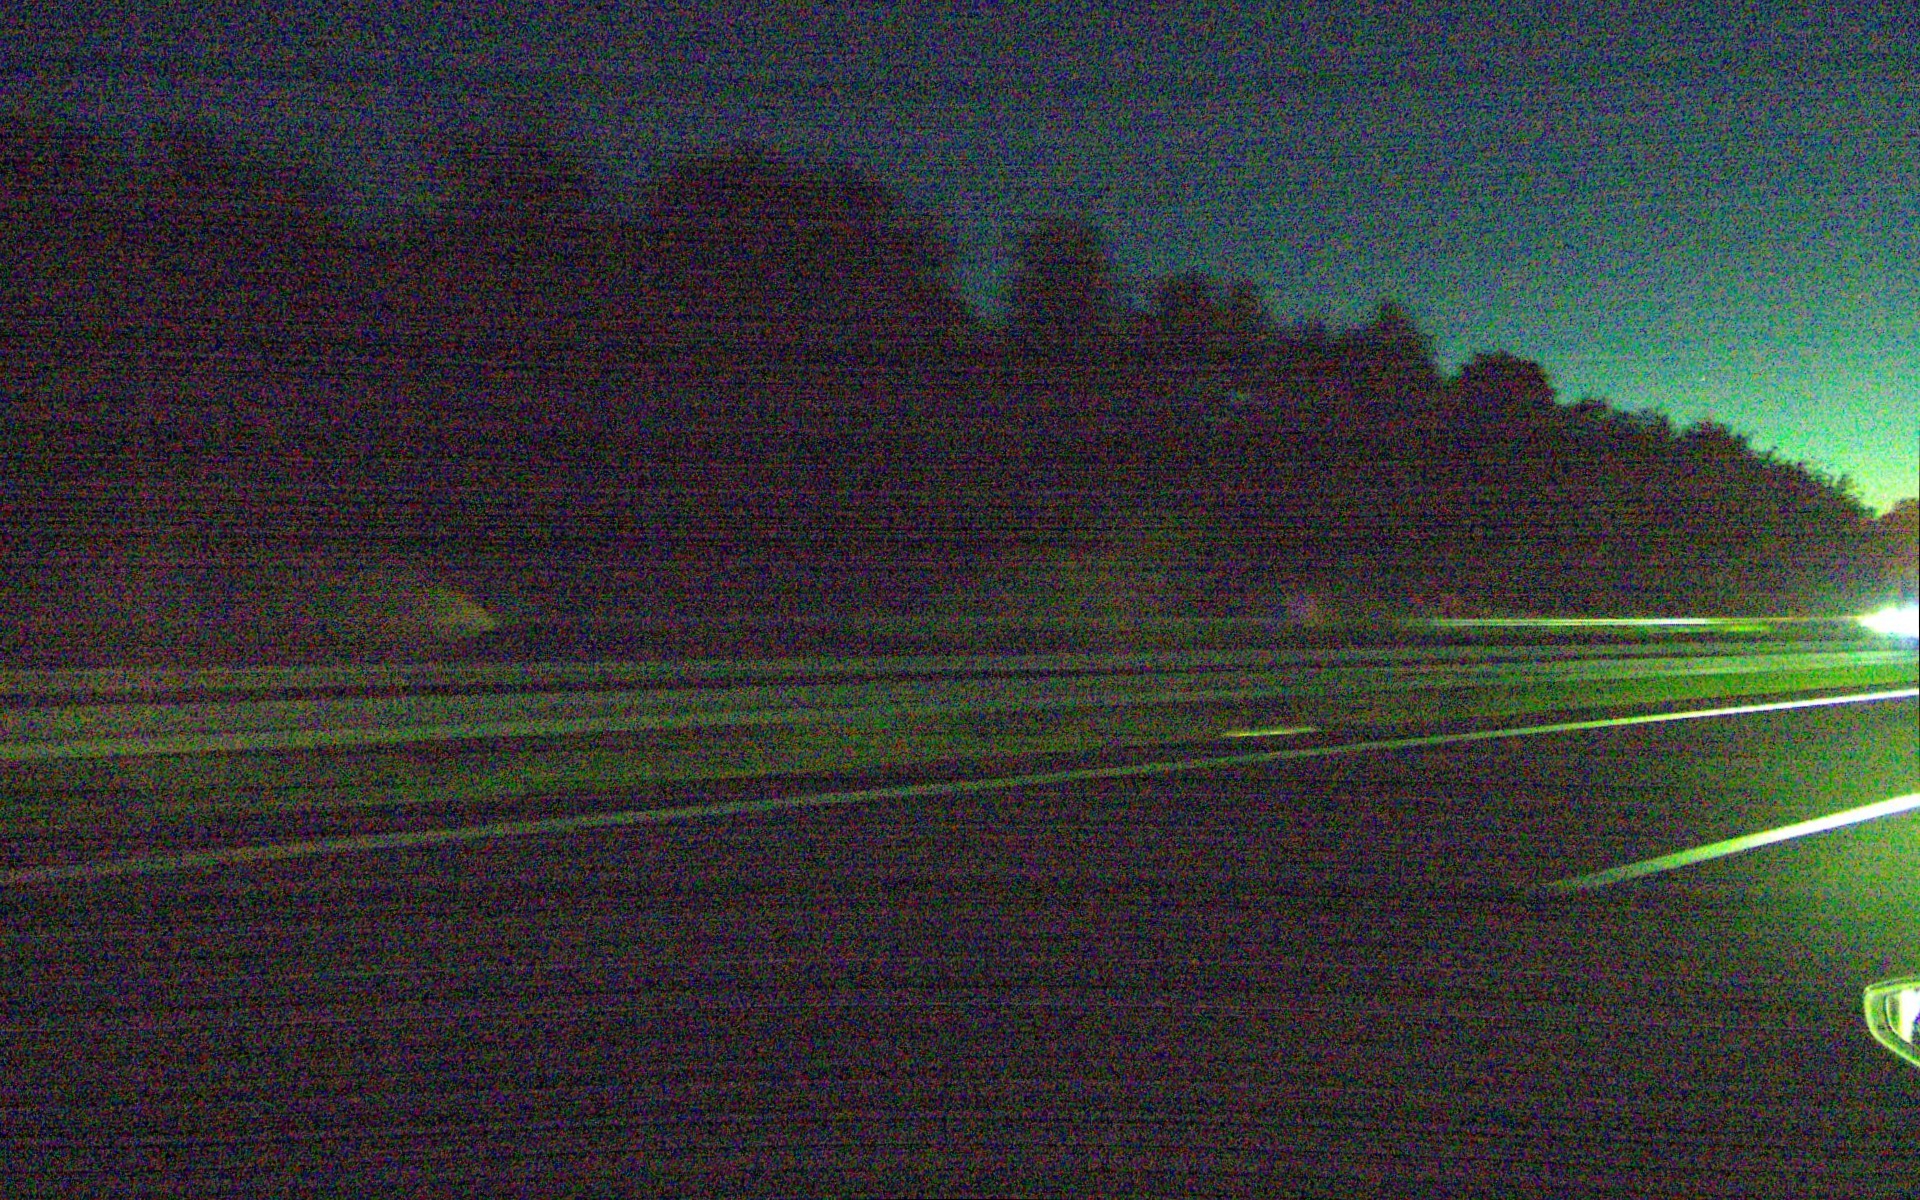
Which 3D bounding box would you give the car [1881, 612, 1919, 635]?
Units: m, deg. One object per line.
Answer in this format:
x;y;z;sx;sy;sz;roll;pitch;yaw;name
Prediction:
66.459;1.654;70.403;4.273;1.528;1.980;1;0;-36;car
